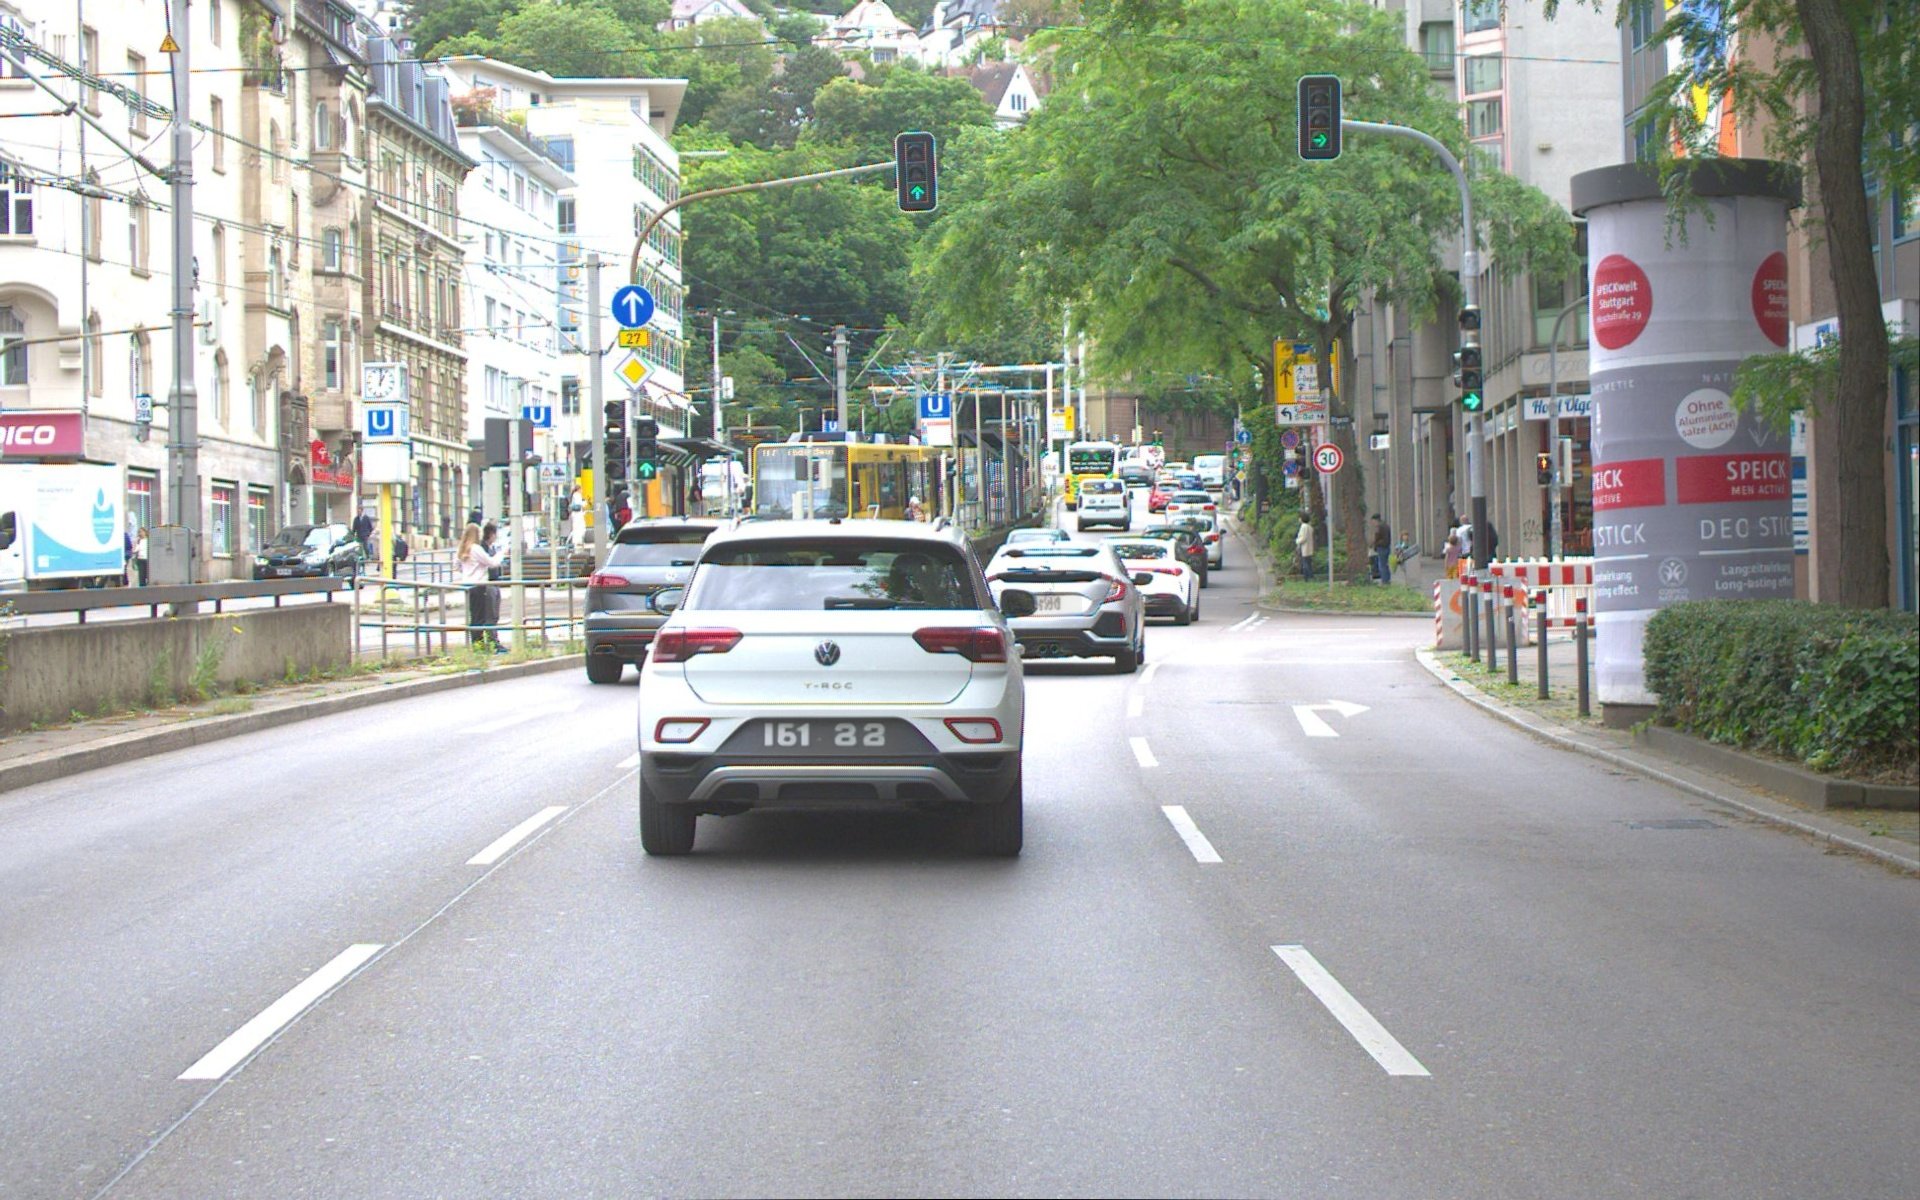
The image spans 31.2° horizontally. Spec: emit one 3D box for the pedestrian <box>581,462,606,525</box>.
[{"bbox_3d":[-9.905,-2.880,92.992,0.635,1.705,0.690,0,2,-4],"label":"pedestrian"}]

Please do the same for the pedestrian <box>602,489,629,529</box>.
[{"bbox_3d":[-9.618,-2.556,96.056,0.635,1.103,0.690,0,2,4],"label":"pedestrian"}]

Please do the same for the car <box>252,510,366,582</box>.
[{"bbox_3d":[-16.626,-1.389,87.954,1.674,1.753,4.782,1,1,4],"label":"car"}]

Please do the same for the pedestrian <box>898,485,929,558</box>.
[{"bbox_3d":[-1.097,-1.862,81.417,0.685,1.705,0.712,0,2,4],"label":"pedestrian"}]

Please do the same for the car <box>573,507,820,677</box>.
[{"bbox_3d":[-2.621,-0.109,35.084,1.994,1.630,4.000,0,1,3],"label":"car"}]

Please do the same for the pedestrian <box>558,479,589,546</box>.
[{"bbox_3d":[-9.992,-2.263,88.837,0.688,1.705,0.662,0,2,3],"label":"pedestrian"}]

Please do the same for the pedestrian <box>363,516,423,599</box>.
[{"bbox_3d":[-11.638,-0.874,70.579,0.876,1.699,0.811,1,1,33],"label":"pedestrian"}]

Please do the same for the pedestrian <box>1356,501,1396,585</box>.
[{"bbox_3d":[9.177,-1.261,75.826,0.721,1.796,0.834,-2,4,0],"label":"pedestrian"}]

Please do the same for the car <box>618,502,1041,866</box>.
[{"bbox_3d":[-0.660,0.332,17.181,1.837,1.578,4.157,1,1,-2],"label":"car"}]

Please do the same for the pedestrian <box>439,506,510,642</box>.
[{"bbox_3d":[-6.137,-0.332,43.481,0.764,1.715,0.637,0,1,4],"label":"pedestrian"}]

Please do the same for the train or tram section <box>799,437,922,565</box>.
[{"bbox_3d":[-2.783,-2.832,97.684,2.835,3.508,5.751,1,2,5],"label":"train or tram section"}]

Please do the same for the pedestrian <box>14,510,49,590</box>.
[{"bbox_3d":[-20.771,-1.123,76.898,0.510,1.773,0.576,0,1,19],"label":"pedestrian"}]

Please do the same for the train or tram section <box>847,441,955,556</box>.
[{"bbox_3d":[-1.828,-3.247,109.180,2.835,3.508,5.751,1,2,5],"label":"train or tram section"}]

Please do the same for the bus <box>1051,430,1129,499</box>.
[{"bbox_3d":[6.445,-6.555,168.006,3.372,3.054,13.323,1,1,4],"label":"bus"}]

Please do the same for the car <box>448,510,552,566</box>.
[{"bbox_3d":[-12.973,-1.766,97.253,1.657,1.547,4.534,0,1,9],"label":"car"}]

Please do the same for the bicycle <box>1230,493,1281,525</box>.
[{"bbox_3d":[11.585,-3.571,134.905,1.882,1.262,0.764,1,1,15],"label":"bicycle"}]

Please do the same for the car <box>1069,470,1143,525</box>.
[{"bbox_3d":[5.646,-3.926,132.190,2.365,2.007,5.147,1,1,7],"label":"car"}]

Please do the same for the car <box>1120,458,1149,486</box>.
[{"bbox_3d":[10.392,-7.629,204.617,1.674,1.555,3.986,1,1,4],"label":"car"}]

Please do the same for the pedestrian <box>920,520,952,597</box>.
[{"bbox_3d":[-0.530,-0.929,76.611,0.635,1.705,0.871,0,2,4],"label":"pedestrian"}]

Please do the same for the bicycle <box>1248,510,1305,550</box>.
[{"bbox_3d":[9.485,-2.103,103.027,1.620,1.124,0.613,-2,2,8],"label":"bicycle"}]

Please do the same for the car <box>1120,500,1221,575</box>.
[{"bbox_3d":[5.790,-1.732,95.153,2.364,2.007,5.148,1,1,-1],"label":"car"}]

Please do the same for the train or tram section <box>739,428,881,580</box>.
[{"bbox_3d":[-3.704,-2.428,86.206,2.835,3.666,5.751,1,2,5],"label":"train or tram section"}]

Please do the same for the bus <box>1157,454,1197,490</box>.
[{"bbox_3d":[12.672,-7.446,200.873,1.993,2.007,4.000,1,1,-1],"label":"bus"}]

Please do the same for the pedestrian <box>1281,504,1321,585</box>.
[{"bbox_3d":[7.654,-1.252,77.206,0.693,1.771,0.689,-5,1,0],"label":"pedestrian"}]

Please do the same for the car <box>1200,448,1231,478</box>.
[{"bbox_3d":[14.381,-7.716,193.644,1.674,1.555,3.678,1,1,4],"label":"car"}]

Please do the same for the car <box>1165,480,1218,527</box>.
[{"bbox_3d":[8.486,-3.522,125.929,1.885,1.678,4.161,1,1,4],"label":"car"}]

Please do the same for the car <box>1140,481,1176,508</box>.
[{"bbox_3d":[9.214,-4.888,159.786,1.582,1.168,3.678,1,1,4],"label":"car"}]

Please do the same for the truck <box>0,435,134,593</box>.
[{"bbox_3d":[-19.198,-1.716,68.972,2.267,3.065,7.371,1,1,11],"label":"truck"}]

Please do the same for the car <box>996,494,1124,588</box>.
[{"bbox_3d":[2.302,-1.337,77.771,2.365,2.007,5.147,1,1,7],"label":"car"}]

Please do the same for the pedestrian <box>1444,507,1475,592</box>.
[{"bbox_3d":[10.575,-1.064,72.804,0.518,1.783,0.764,1,1,0],"label":"pedestrian"}]

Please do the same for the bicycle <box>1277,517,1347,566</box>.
[{"bbox_3d":[8.981,-1.491,87.733,1.707,1.180,0.449,-2,2,-3],"label":"bicycle"}]

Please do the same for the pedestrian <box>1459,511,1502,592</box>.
[{"bbox_3d":[10.720,-0.999,70.851,0.762,1.606,0.618,-1,4,16],"label":"pedestrian"}]

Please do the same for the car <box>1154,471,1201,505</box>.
[{"bbox_3d":[11.245,-5.766,177.175,1.886,1.678,4.159,1,1,11],"label":"car"}]

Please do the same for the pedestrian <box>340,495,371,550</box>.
[{"bbox_3d":[-19.387,-2.480,110.240,0.627,1.756,0.846,-1,1,-38],"label":"pedestrian"}]

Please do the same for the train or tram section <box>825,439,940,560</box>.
[{"bbox_3d":[-2.294,-3.048,103.442,2.835,3.508,5.751,1,2,5],"label":"train or tram section"}]

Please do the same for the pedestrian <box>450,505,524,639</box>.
[{"bbox_3d":[-6.082,-0.366,44.262,0.792,1.715,0.772,0,1,4],"label":"pedestrian"}]

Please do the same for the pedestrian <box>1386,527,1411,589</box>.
[{"bbox_3d":[9.551,-0.914,74.885,0.471,1.329,0.520,1,1,0],"label":"pedestrian"}]

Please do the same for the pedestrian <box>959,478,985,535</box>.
[{"bbox_3d":[0.363,-2.836,104.391,0.718,1.725,0.670,1,1,6],"label":"pedestrian"}]

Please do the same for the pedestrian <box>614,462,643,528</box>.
[{"bbox_3d":[-8.867,-2.801,91.931,0.627,1.756,0.846,0,1,5],"label":"pedestrian"}]

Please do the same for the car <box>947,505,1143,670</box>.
[{"bbox_3d":[0.985,-0.165,37.629,1.885,1.678,4.161,1,1,5],"label":"car"}]

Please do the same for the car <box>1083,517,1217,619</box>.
[{"bbox_3d":[3.231,-0.575,59.278,1.884,1.678,4.162,1,1,-2],"label":"car"}]
